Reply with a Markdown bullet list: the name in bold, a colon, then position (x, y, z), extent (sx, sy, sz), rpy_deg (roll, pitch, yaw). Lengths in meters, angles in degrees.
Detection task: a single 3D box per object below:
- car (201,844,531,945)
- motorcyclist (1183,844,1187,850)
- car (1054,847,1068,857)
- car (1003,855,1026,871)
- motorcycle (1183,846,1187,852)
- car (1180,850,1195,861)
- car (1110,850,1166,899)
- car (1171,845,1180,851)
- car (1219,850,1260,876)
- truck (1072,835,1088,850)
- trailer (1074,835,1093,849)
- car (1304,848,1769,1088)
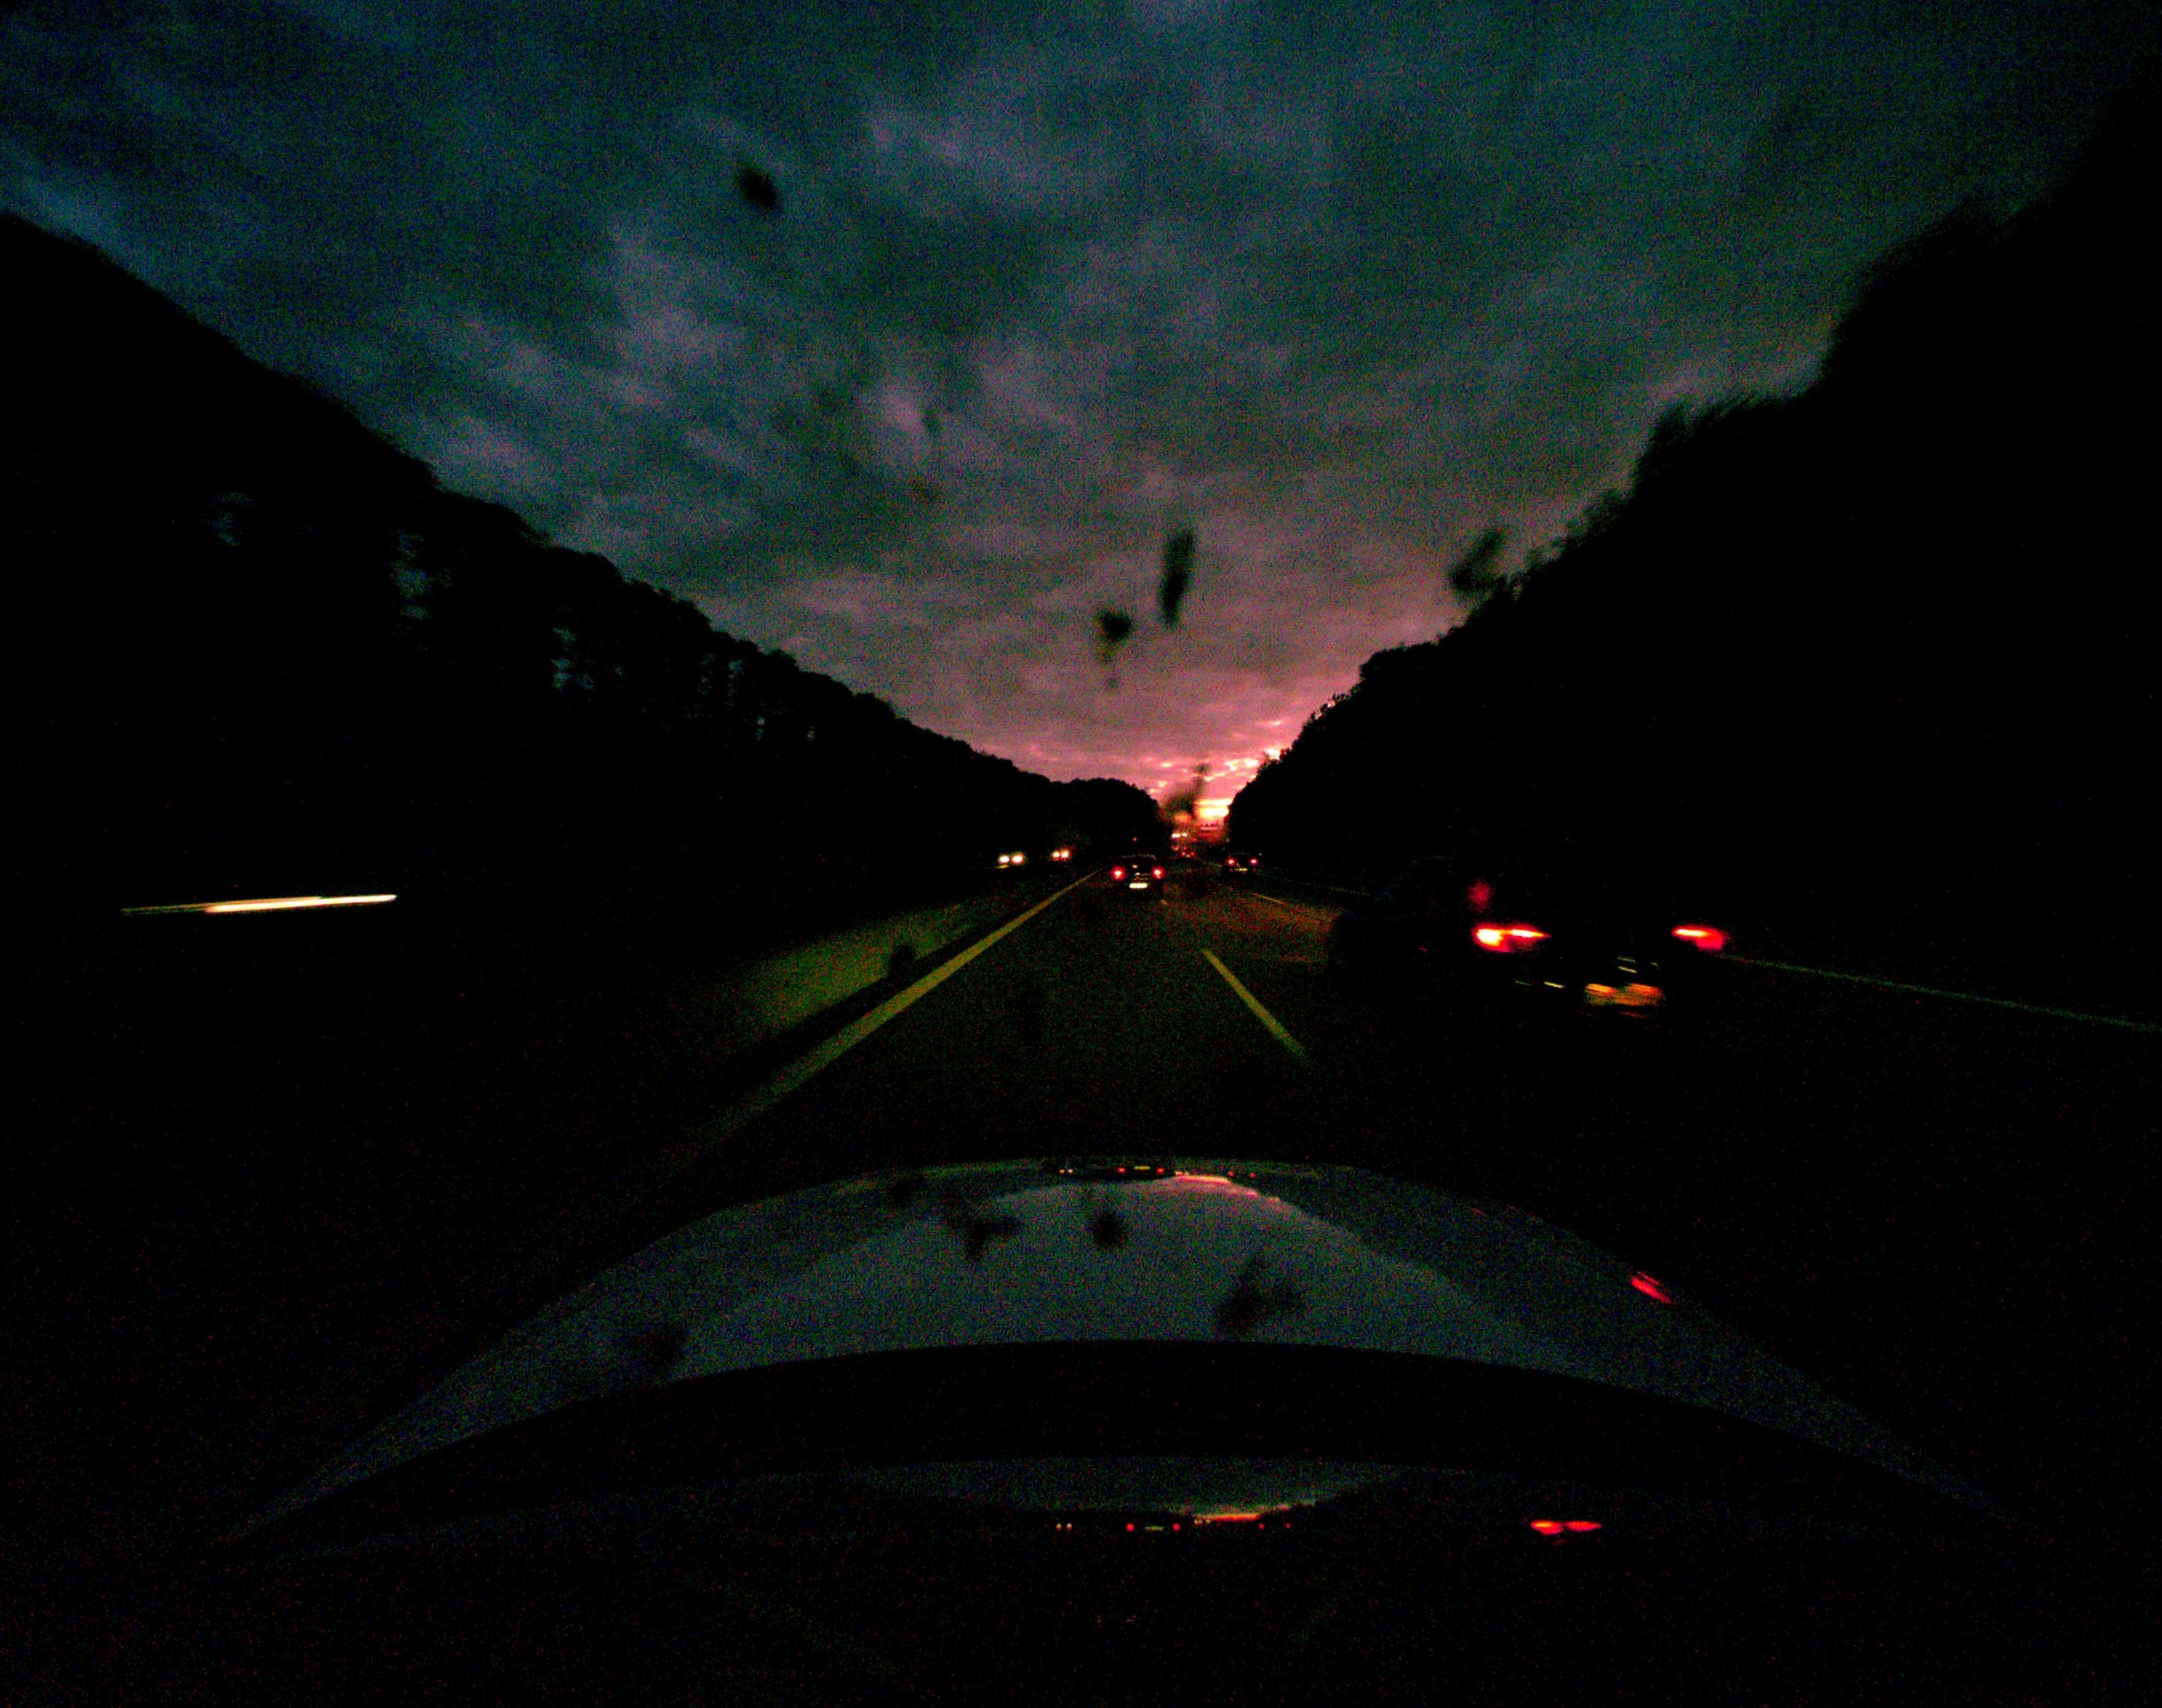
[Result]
- **car**: position (-14.023, 0.667, 16.582), extent (1.911, 1.716, 5.288), rpy_deg (0, 0, 2)
- **motorcyclist**: position (22.573, -1.467, 176.992), extent (0.824, 1.291, 1.193), rpy_deg (-2, 1, 10)
- **car**: position (-3.022, -0.360, 122.108), extent (1.813, 1.479, 4.373), rpy_deg (0, 0, 2)
- **car**: position (-6.711, 0.883, 82.320), extent (1.813, 1.479, 4.373), rpy_deg (0, 0, 2)
- **motorcycle**: position (22.604, -1.071, 177.061), extent (0.824, 1.134, 2.483), rpy_deg (-2, 1, 10)
- **car**: position (14.746, 0.237, 112.932), extent (1.816, 1.475, 4.406), rpy_deg (0, 0, 6)
- **car**: position (1.859, 0.623, 27.543), extent (1.697, 1.509, 4.234), rpy_deg (0, 0, 2)
- **car**: position (22.211, -1.449, 191.668), extent (1.856, 1.494, 4.406), rpy_deg (0, 0, 6)
- **car**: position (9.559, 0.491, 49.481), extent (1.857, 1.435, 4.588), rpy_deg (0, 1, 3)
- **truck**: position (-0.377, -3.357, 237.386), extent (3.170, 4.104, 7.714), rpy_deg (-1, 1, 11)
- **trailer**: position (0.818, -3.532, 243.738), extent (3.170, 4.104, 13.783), rpy_deg (-1, 1, 11)
- **car**: position (3.523, 0.709, 7.570), extent (1.685, 1.490, 4.951), rpy_deg (0, 0, 2)
